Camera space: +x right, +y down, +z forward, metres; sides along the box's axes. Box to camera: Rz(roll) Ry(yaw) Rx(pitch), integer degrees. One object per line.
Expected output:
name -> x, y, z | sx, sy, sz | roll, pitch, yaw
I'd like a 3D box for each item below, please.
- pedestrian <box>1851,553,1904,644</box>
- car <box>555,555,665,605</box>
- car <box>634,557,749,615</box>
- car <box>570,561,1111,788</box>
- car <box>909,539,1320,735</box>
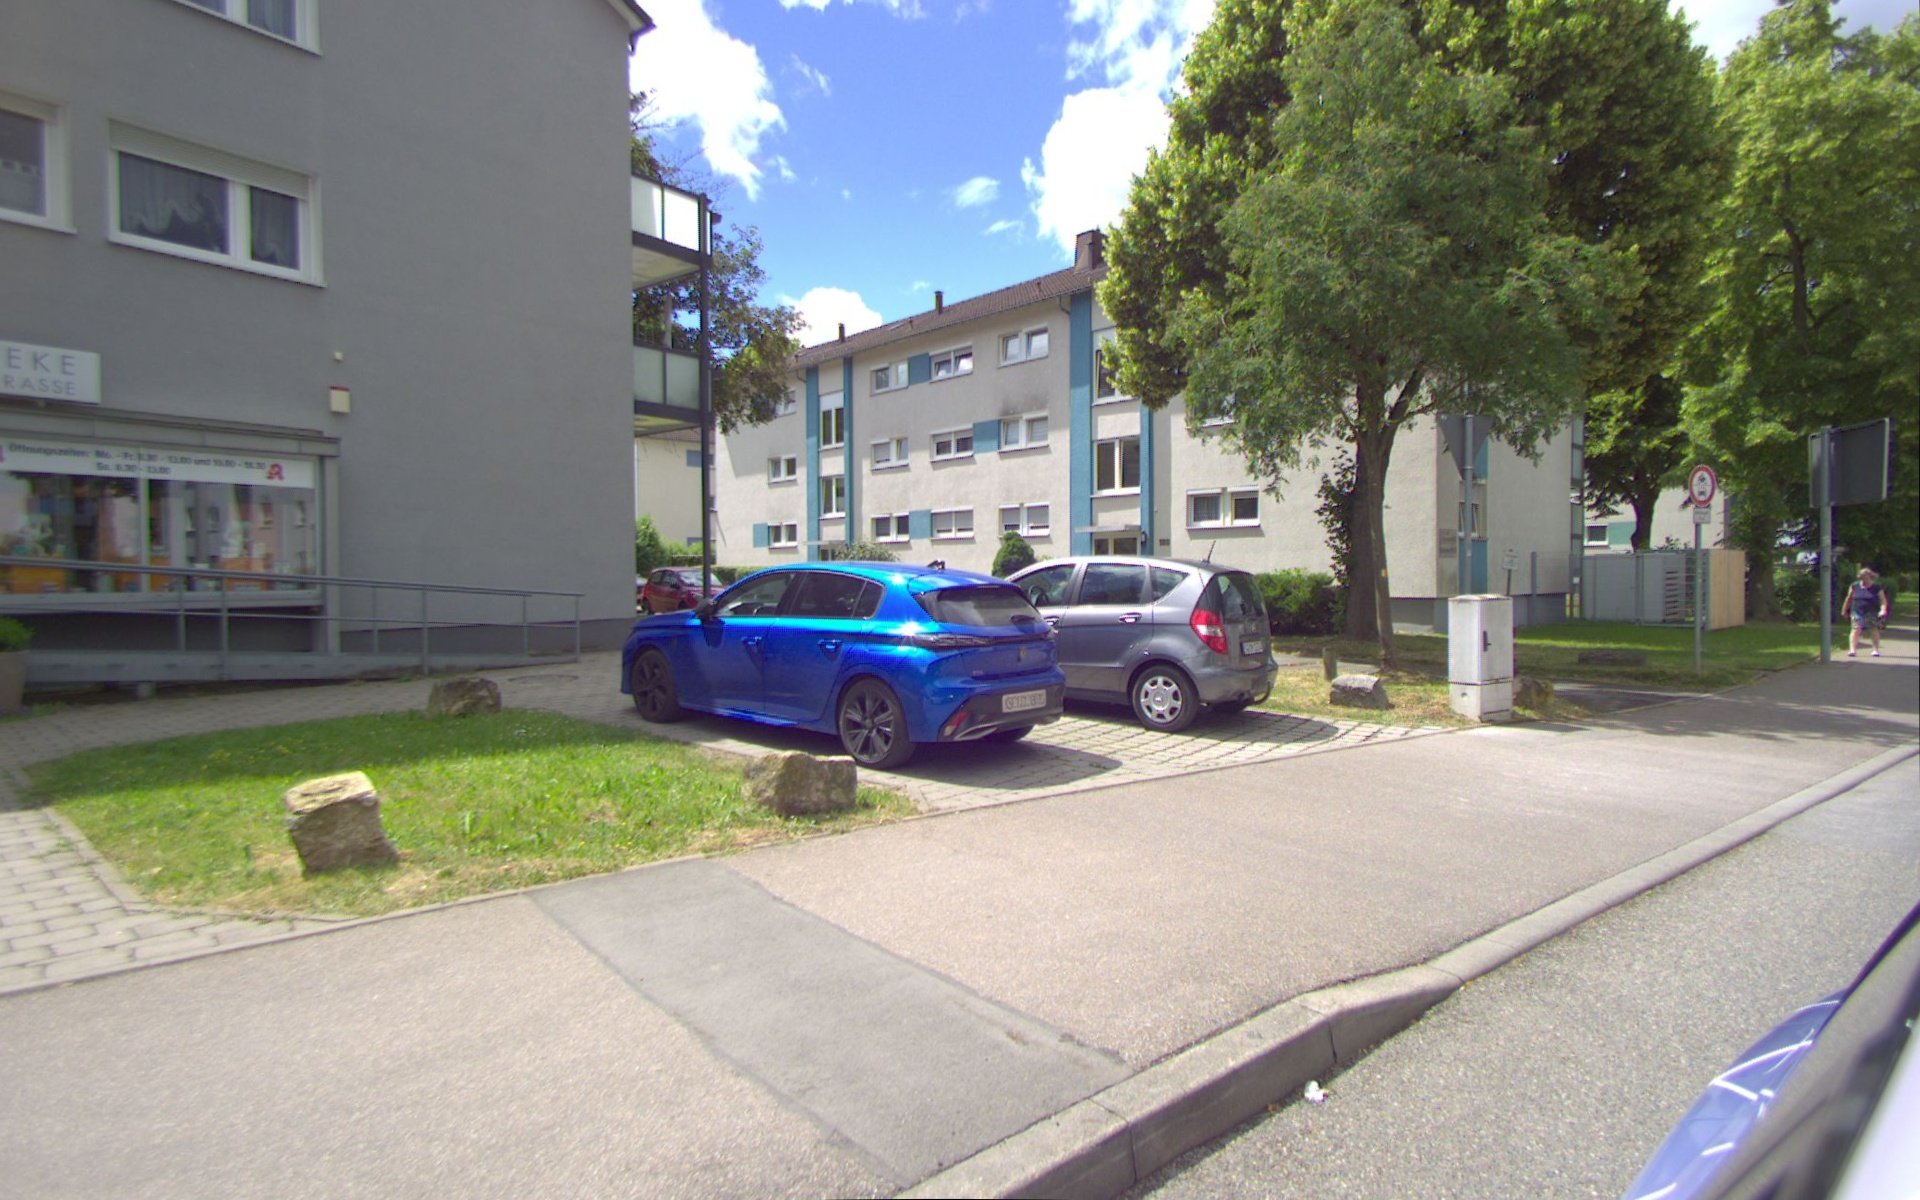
pedestrian -> 17.322, -0.046, 19.128 | 0.681, 1.680, 0.819 | 2, 2, 41
car -> -11.338, -0.675, 32.680 | 1.887, 1.522, 3.991 | -1, 2, -44
car -> -7.593, -0.390, 28.427 | 1.700, 1.521, 3.878 | -1, 1, -39
car -> -1.182, 0.405, 8.624 | 4.475, 1.258, 1.973 | 5, 4, 38
car -> 1.521, 0.224, 10.547 | 3.724, 1.575, 2.003 | 4, 4, 39
